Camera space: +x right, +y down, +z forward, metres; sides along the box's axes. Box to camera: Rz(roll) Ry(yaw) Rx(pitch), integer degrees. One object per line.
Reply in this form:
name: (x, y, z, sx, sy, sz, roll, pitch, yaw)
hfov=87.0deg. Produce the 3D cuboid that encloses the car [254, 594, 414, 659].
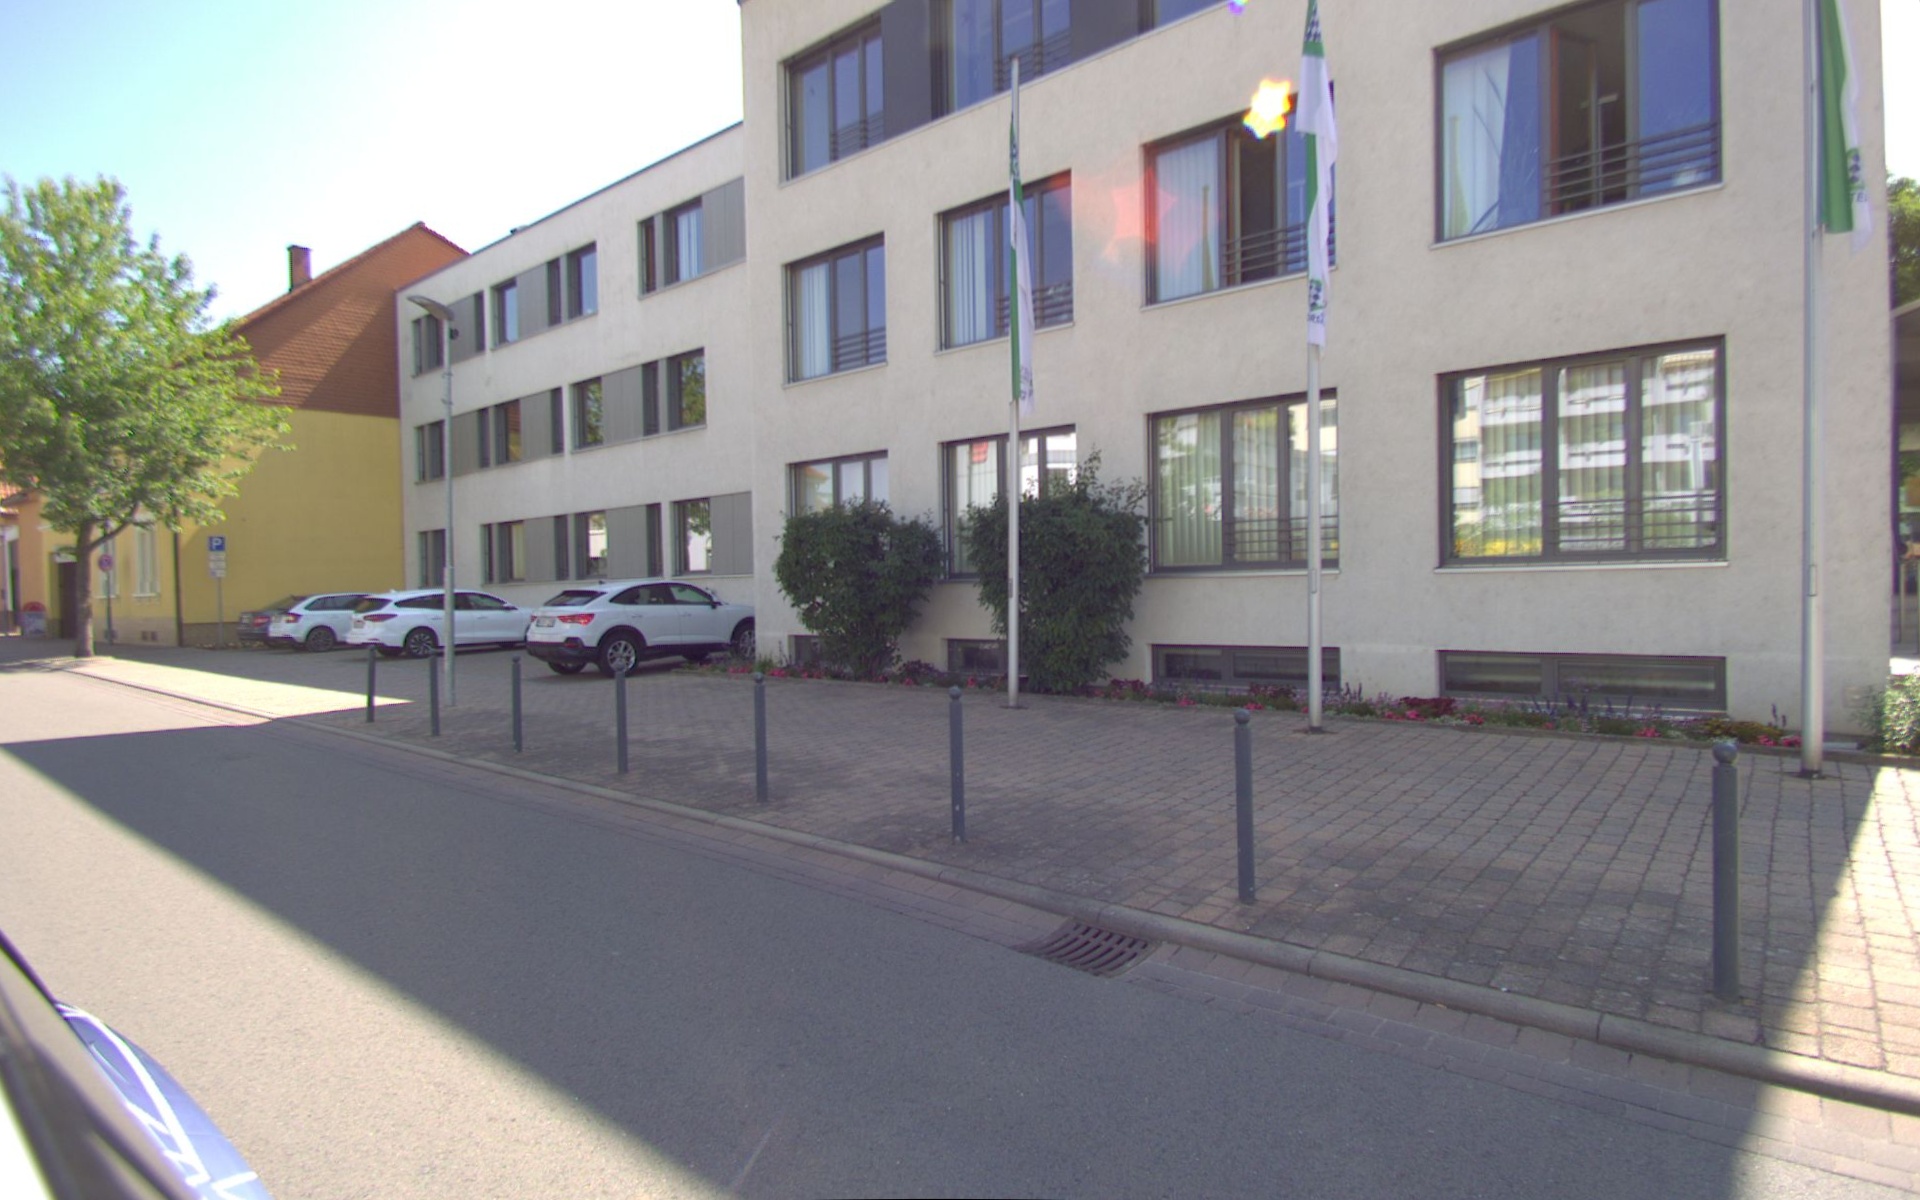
car: (-15.965, 0.635, 25.903, 1.642, 1.461, 3.099, -1, 2, 41)

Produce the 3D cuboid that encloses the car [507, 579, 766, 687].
car: (-5.461, 0.473, 17.500, 1.747, 1.559, 3.949, -1, 2, 38)

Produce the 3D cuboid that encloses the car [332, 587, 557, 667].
car: (-11.602, 0.538, 23.034, 1.512, 1.490, 4.270, 0, 2, 40)

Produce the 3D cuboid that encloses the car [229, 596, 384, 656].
car: (-17.618, 0.671, 27.368, 1.373, 1.412, 3.218, -1, 2, 38)
